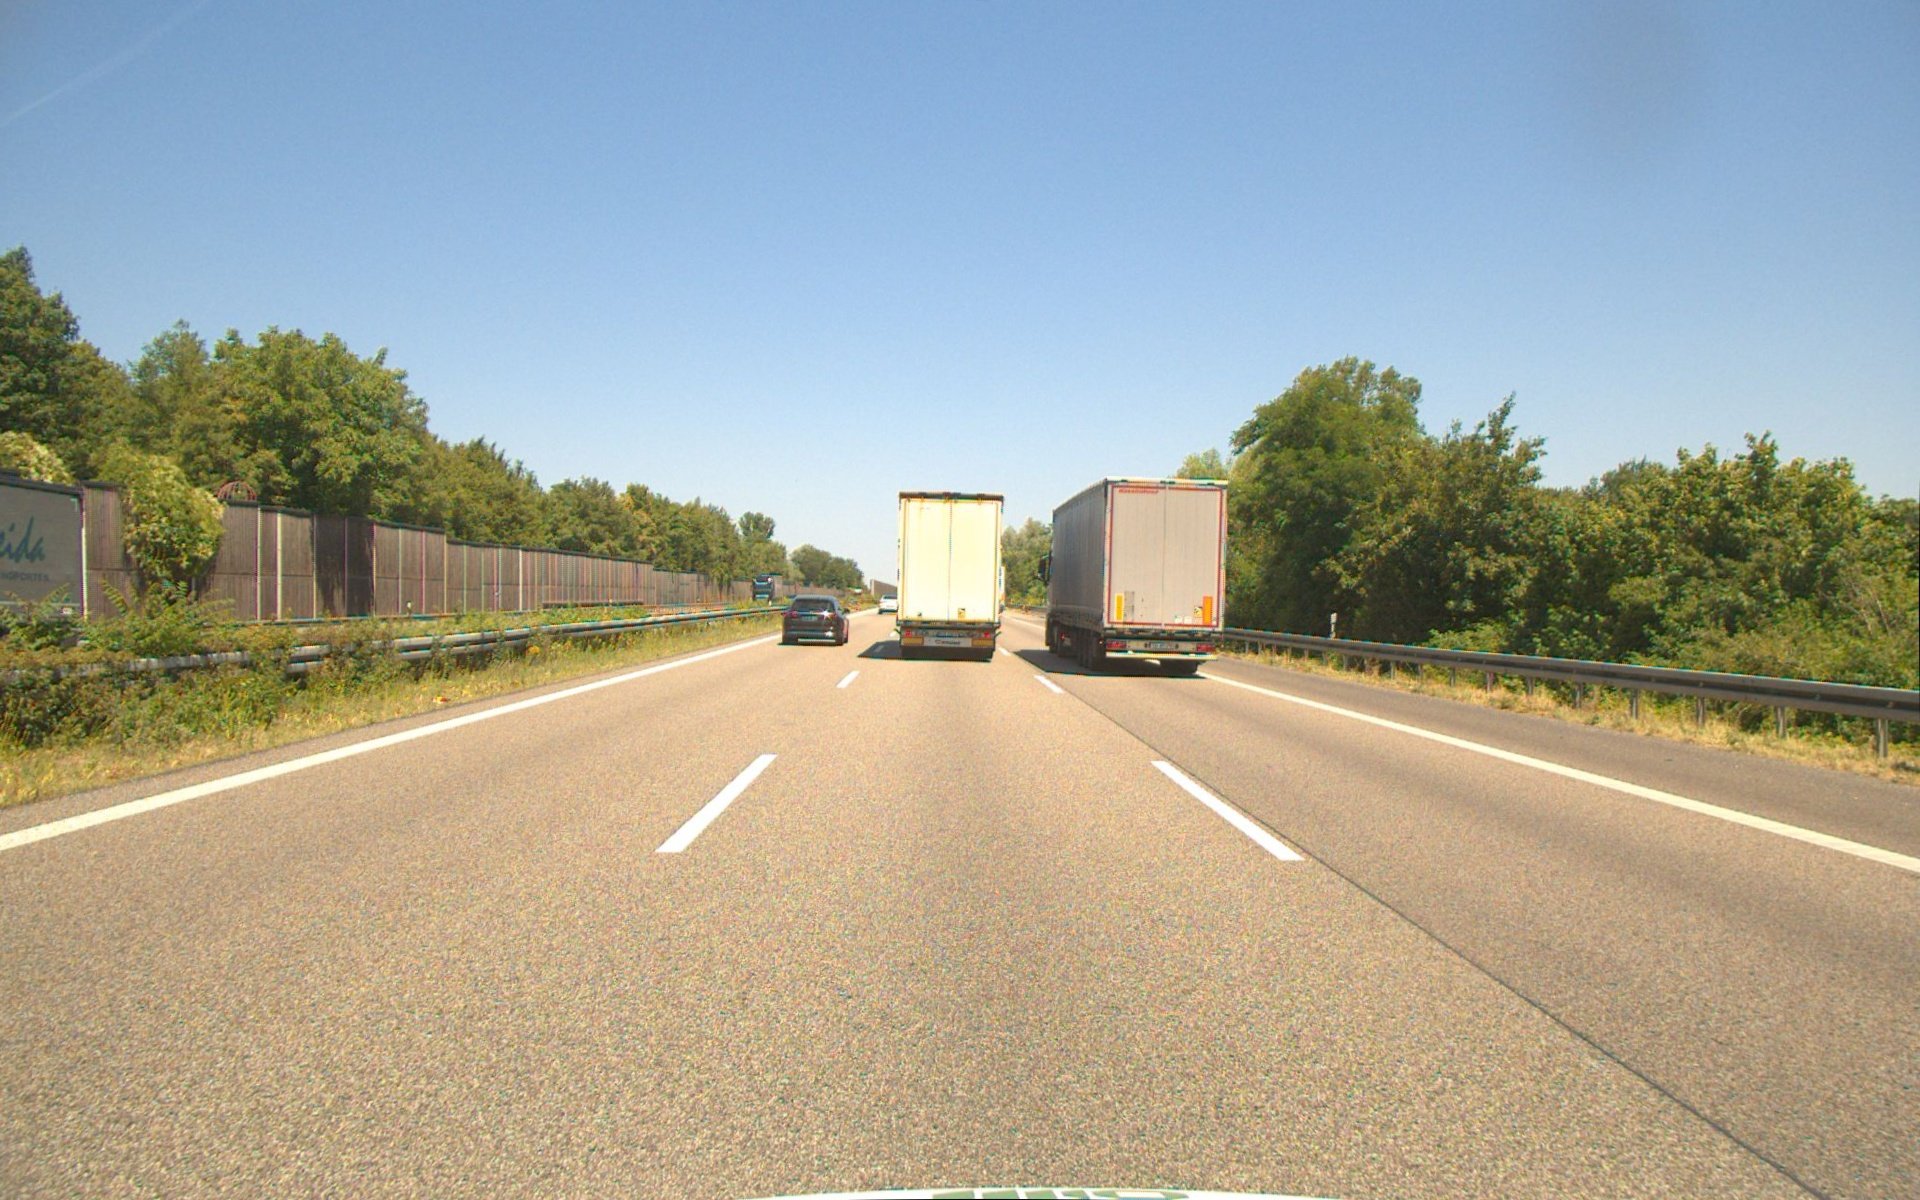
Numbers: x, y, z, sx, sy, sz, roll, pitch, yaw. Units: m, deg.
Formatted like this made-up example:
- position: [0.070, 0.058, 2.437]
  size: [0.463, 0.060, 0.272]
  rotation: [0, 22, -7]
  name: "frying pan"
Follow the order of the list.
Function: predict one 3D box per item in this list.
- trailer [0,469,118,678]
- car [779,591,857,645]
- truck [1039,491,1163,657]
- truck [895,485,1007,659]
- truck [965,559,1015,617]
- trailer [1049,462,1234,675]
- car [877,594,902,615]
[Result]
- position: [-20.956, -0.520, 31.966]
  size: [2.851, 4.256, 13.307]
  rotation: [-1, 0, -1]
  name: "trailer"
- position: [-4.359, 0.502, 51.549]
  size: [1.904, 1.533, 5.821]
  rotation: [-1, 1, 0]
  name: "car"
- position: [3.848, -0.695, 46.858]
  size: [2.637, 4.289, 7.836]
  rotation: [0, 0, -2]
  name: "truck"
- position: [-0.400, -0.698, 46.368]
  size: [2.652, 4.157, 13.469]
  rotation: [0, 0, -2]
  name: "truck"
- position: [2.369, -0.975, 134.352]
  size: [3.306, 4.378, 11.444]
  rotation: [2, 0, -2]
  name: "truck"
- position: [4.026, -0.664, 40.044]
  size: [2.649, 4.289, 13.208]
  rotation: [0, 0, -2]
  name: "trailer"
- position: [-5.434, 0.357, 128.156]
  size: [1.818, 1.512, 3.999]
  rotation: [-1, 0, -1]
  name: "car"
